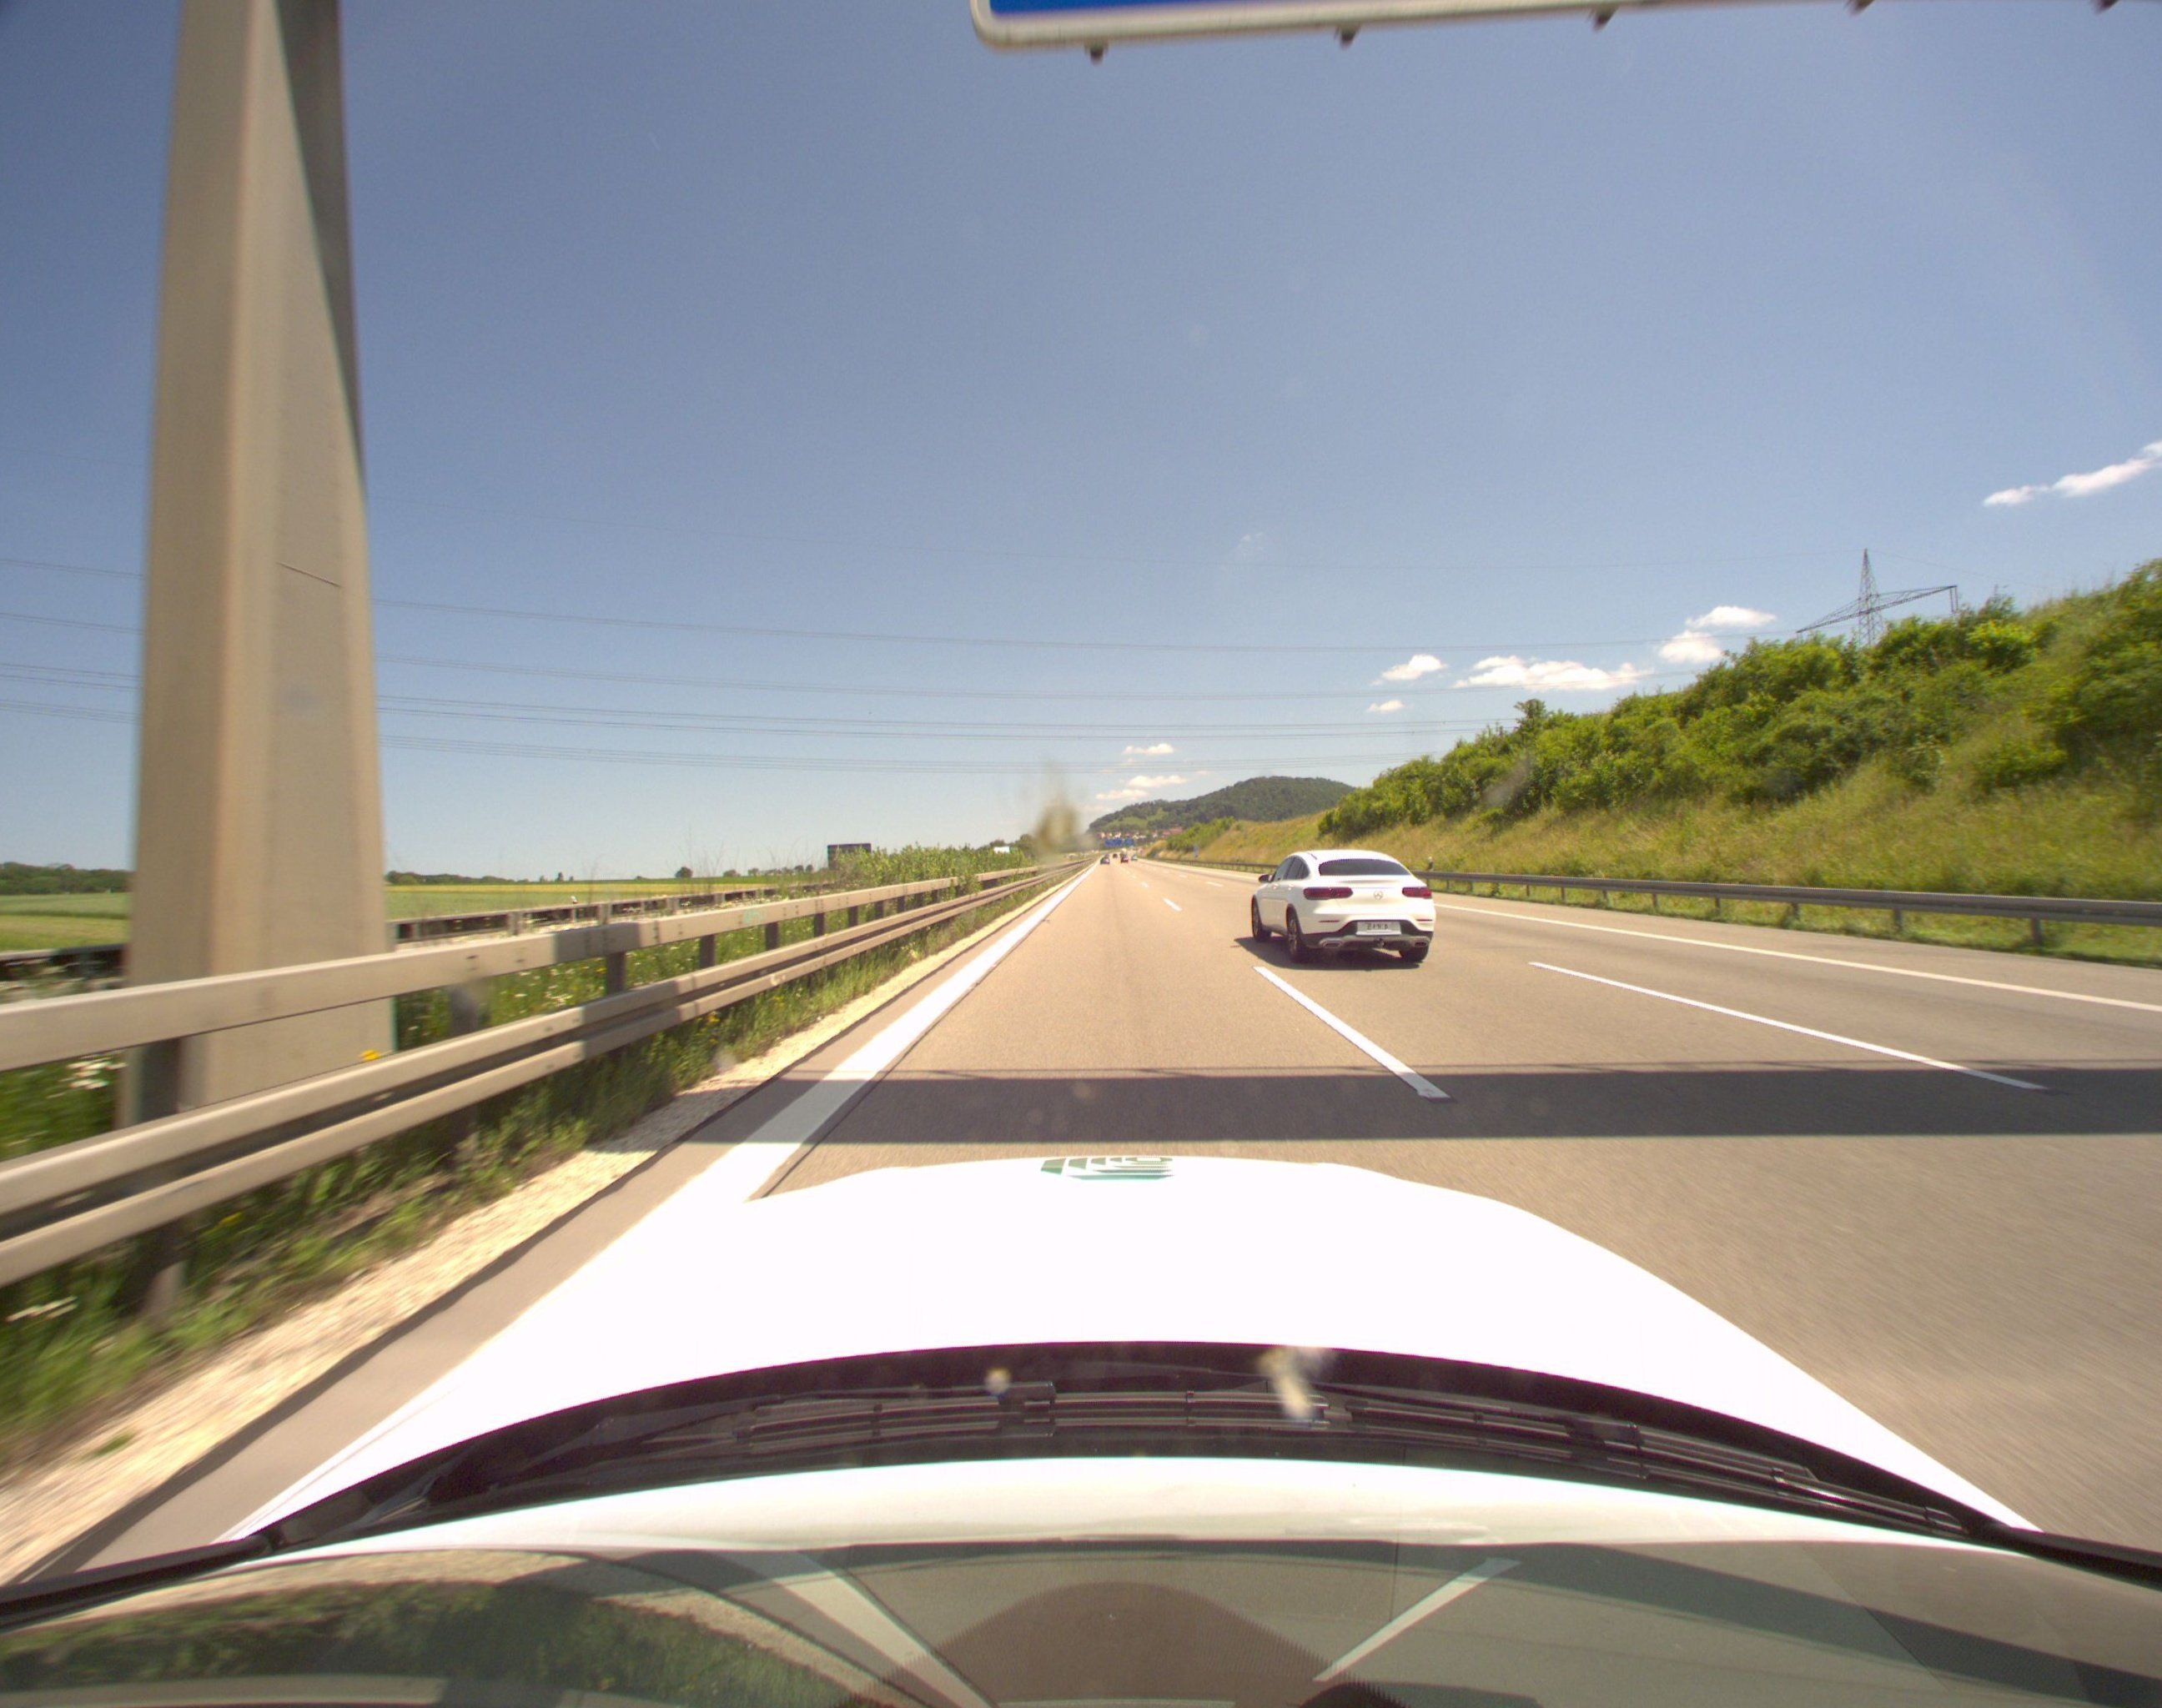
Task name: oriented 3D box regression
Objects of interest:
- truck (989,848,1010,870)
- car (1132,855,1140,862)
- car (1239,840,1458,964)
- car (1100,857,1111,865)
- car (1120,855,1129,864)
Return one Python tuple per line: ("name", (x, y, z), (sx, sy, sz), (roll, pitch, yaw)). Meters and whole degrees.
("truck", (-13.567, 0.804, 135.832), (2.714, 3.559, 5.901), (0, -1, 1))
("car", (15.207, 1.176, 226.277), (1.986, 1.818, 4.002), (-3, 0, 2))
("car", (3.945, 0.647, 13.089), (1.907, 1.581, 5.232), (0, -1, 1))
("car", (4.627, 1.257, 150.726), (1.986, 1.389, 4.002), (0, -1, 2))
("car", (9.198, 1.148, 172.655), (1.986, 2.014, 4.002), (0, -1, 2))
